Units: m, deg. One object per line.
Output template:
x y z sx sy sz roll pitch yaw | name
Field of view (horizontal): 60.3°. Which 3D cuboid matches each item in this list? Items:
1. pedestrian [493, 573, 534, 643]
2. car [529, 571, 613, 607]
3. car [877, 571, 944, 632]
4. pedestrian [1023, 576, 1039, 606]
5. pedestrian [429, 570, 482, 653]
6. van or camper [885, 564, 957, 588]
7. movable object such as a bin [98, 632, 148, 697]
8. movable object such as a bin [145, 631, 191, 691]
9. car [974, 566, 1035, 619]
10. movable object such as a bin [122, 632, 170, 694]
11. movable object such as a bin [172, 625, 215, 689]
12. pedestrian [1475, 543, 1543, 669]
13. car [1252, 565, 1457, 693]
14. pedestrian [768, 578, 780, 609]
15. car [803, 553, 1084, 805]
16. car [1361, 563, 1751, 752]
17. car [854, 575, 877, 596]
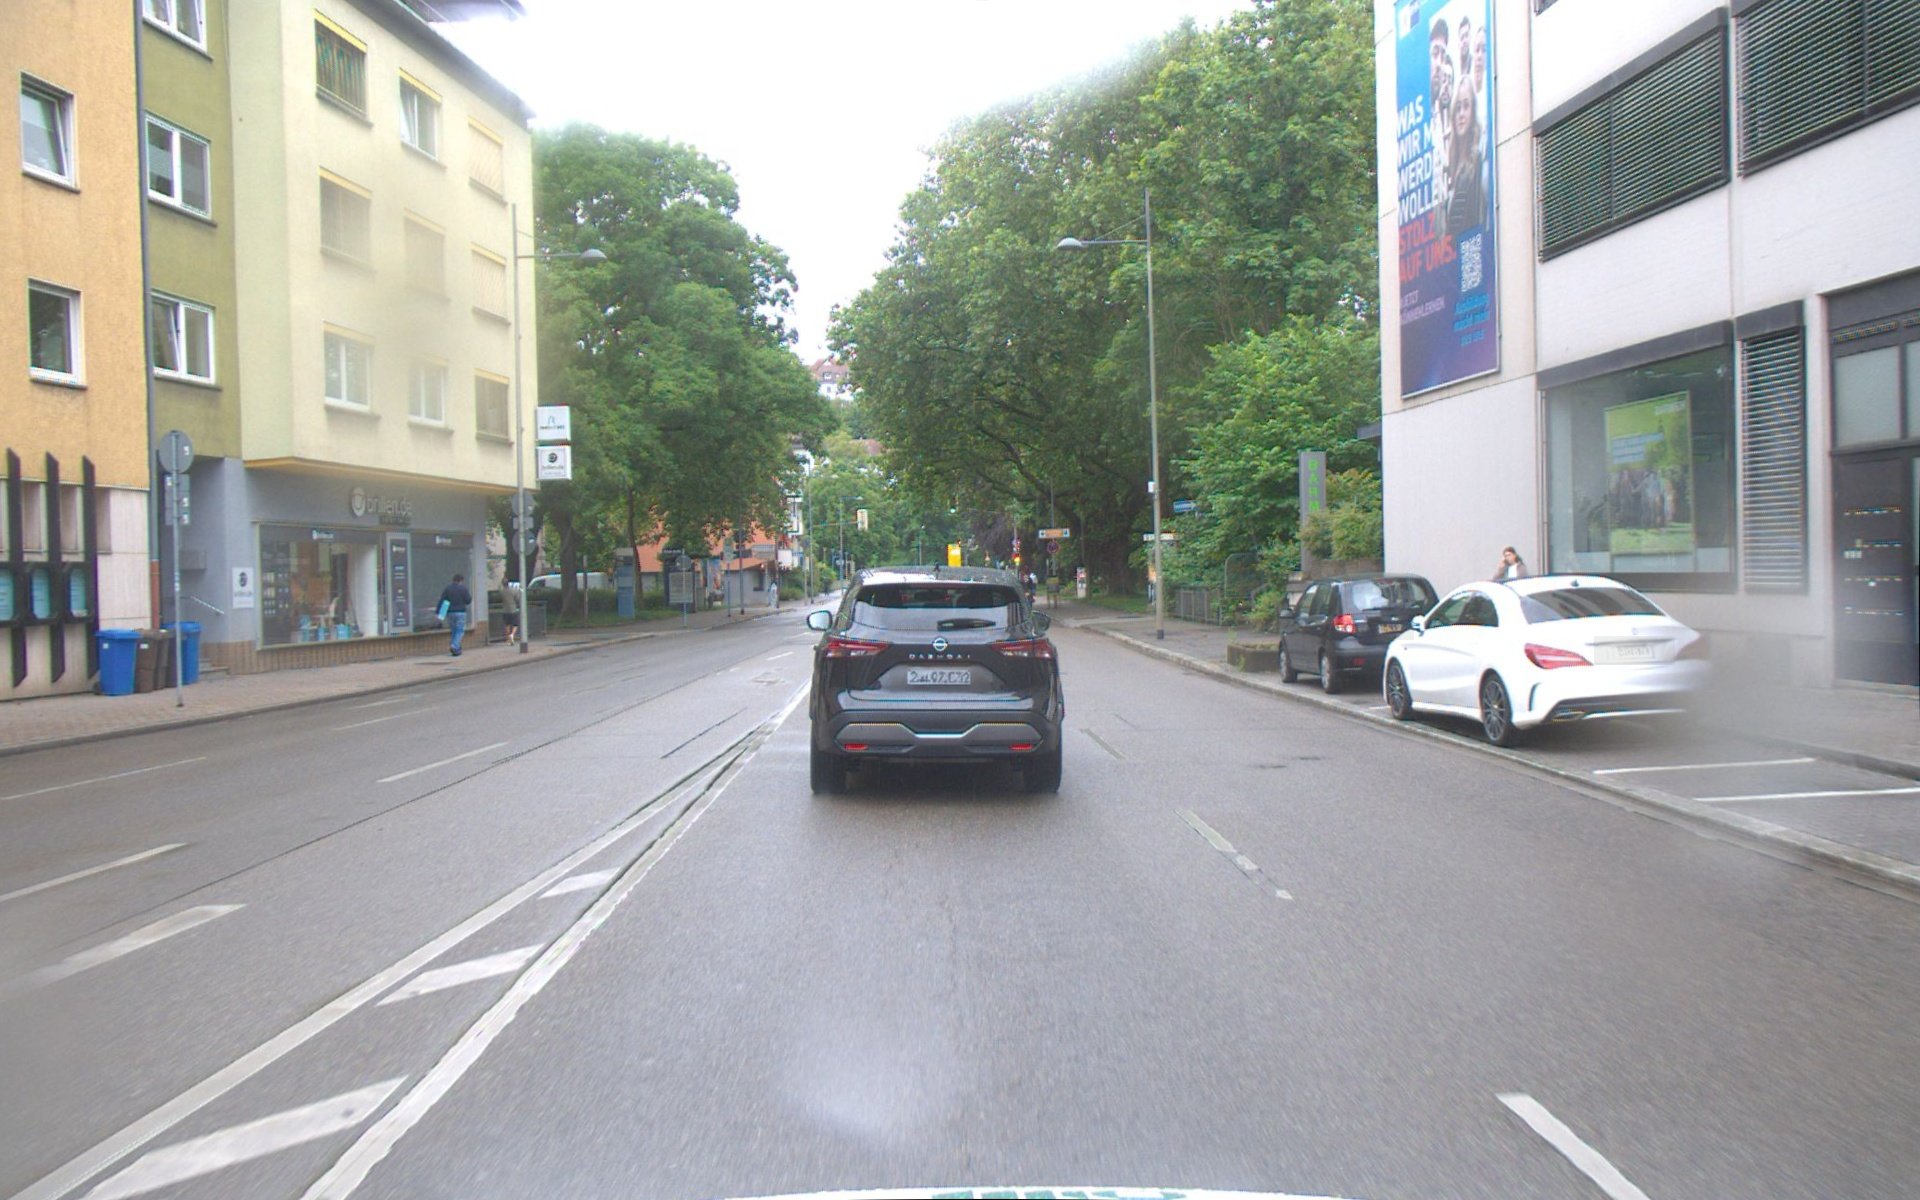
-11.219 0.187 41.622 0.782 1.718 0.817 -2 0 -2 | pedestrian
-19.364 -0.550 82.410 3.757 1.764 1.878 0 1 -3 | car
-1.521 0.056 52.045 1.906 1.714 4.000 -4 0 0 | car
4.357 -0.547 101.364 0.663 1.822 0.710 0 1 -43 | pedestrian
-11.292 0.254 37.030 0.847 1.819 0.875 1 0 4 | pedestrian
-5.898 -3.569 248.397 10.711 3.619 3.183 0 1 -3 | van or camper
-12.655 0.966 25.003 0.444 0.945 0.503 -1 0 6 | movable object such as a bin
-12.526 0.957 26.170 0.444 0.916 0.503 -1 1 6 | movable object such as a bin
1.656 -0.270 62.898 1.907 1.848 3.998 -4 0 -3 | car
-12.598 0.969 25.610 0.444 0.916 0.503 -1 1 6 | movable object such as a bin
-12.618 0.933 27.229 0.390 1.024 0.545 -1 0 6 | movable object such as a bin
7.932 0.088 23.919 0.601 1.767 0.680 -3 0 -8 | pedestrian
5.195 0.337 22.306 1.680 1.467 4.081 -4 1 0 | car
-11.038 -0.384 98.065 0.654 1.822 0.720 0 1 -8 | pedestrian
-0.237 0.484 12.945 1.857 1.657 3.997 0 1 -4 | car
5.404 0.448 15.719 1.739 1.425 4.576 -3 1 -4 | car
-8.266 -1.323 145.418 1.784 1.827 3.865 0 1 0 | car
